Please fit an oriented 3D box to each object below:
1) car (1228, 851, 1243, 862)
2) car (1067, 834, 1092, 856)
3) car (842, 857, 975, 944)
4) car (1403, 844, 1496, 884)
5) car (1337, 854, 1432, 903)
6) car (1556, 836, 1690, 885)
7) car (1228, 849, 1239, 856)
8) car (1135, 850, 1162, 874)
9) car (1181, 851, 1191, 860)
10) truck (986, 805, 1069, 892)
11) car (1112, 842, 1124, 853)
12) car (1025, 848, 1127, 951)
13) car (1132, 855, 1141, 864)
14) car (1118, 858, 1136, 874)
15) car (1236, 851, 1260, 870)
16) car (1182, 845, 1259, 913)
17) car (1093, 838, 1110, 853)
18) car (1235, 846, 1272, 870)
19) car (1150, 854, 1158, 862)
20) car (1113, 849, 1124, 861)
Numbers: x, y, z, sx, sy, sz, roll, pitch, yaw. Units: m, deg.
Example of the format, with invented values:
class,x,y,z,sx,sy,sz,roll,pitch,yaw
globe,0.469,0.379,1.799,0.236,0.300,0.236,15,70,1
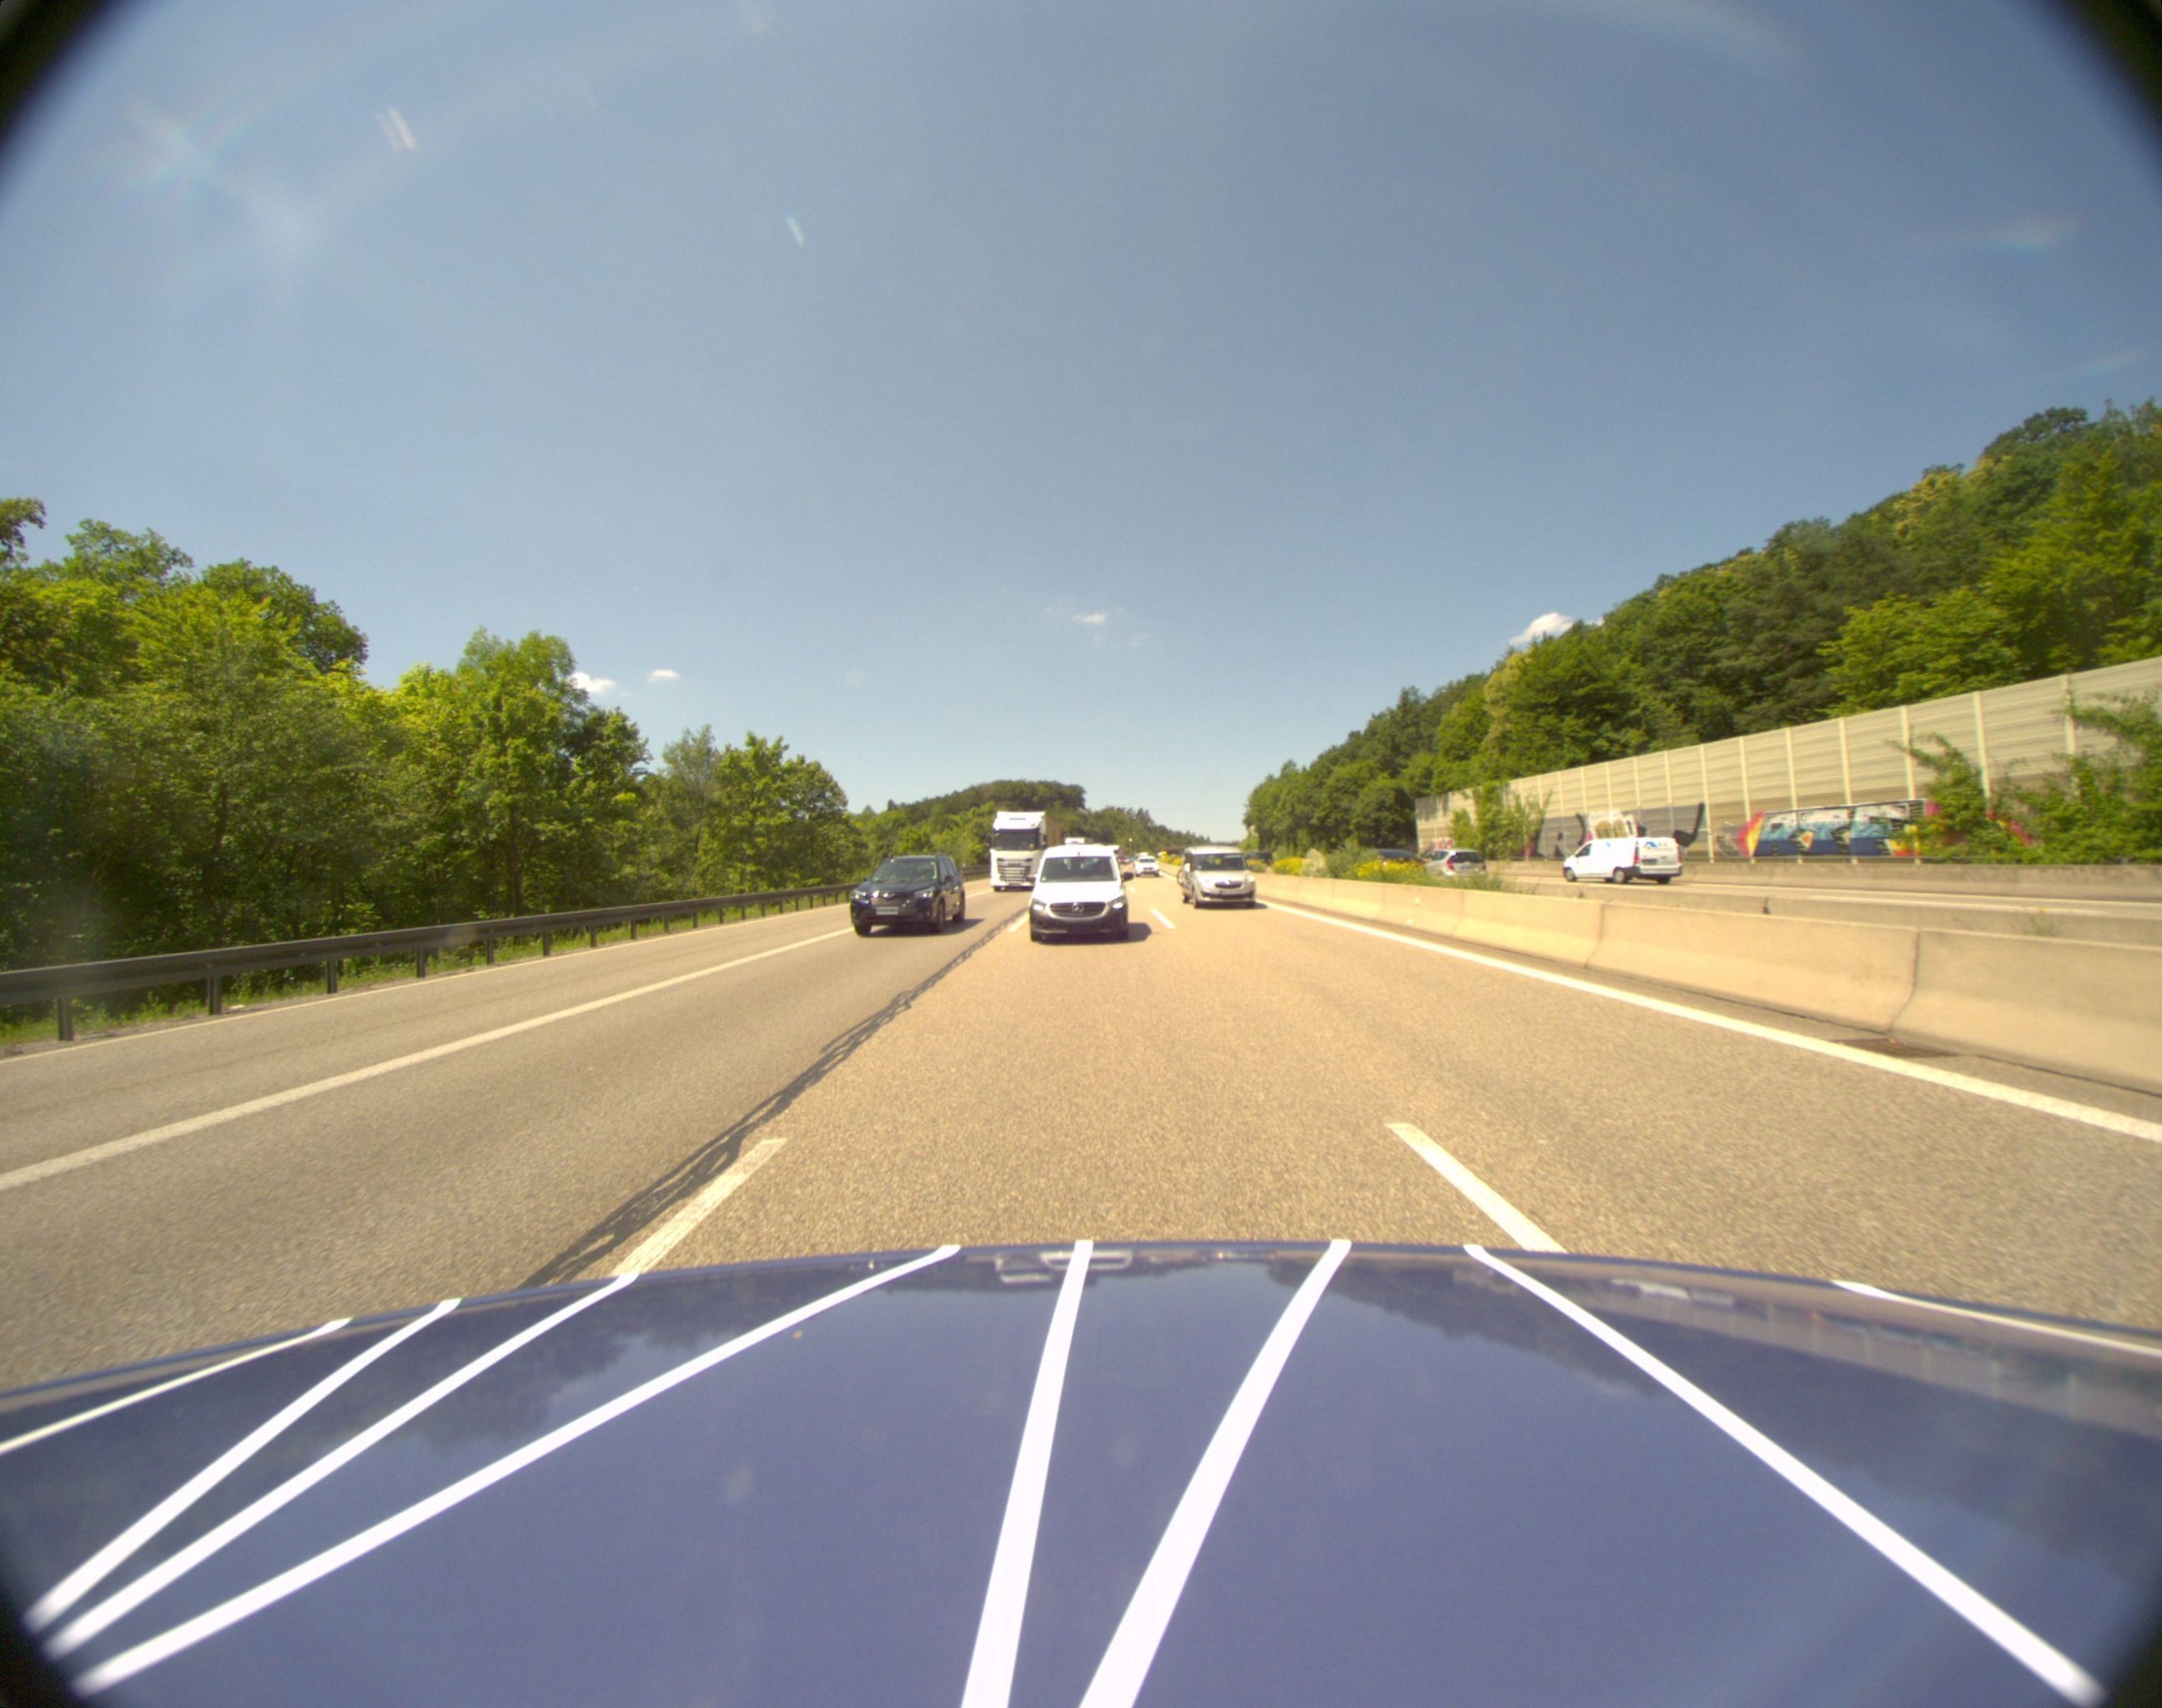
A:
class,x,y,z,sx,sy,sz,roll,pitch,yaw
car,24.472,0.389,120.101,1.743,1.630,4.189,-1,1,4
car,-0.113,-1.097,93.610,2.721,2.534,5.941,-1,1,3
car,-3.749,0.950,17.300,1.816,1.658,4.204,-1,1,3
car,15.640,0.398,32.550,1.814,1.566,4.603,-1,0,1
car,11.432,0.862,28.954,1.814,1.631,4.603,-1,0,1
car,22.559,0.231,31.945,1.926,1.856,5.303,-1,1,1
car,32.333,-0.392,161.361,1.633,1.473,4.314,-1,0,3
car,5.425,0.628,61.722,1.998,1.827,4.001,-1,0,3
car,21.083,0.276,152.128,1.646,1.641,3.713,-1,0,2
truck,-2.729,-0.293,45.026,2.789,4.144,16.271,-2,0,3
car,8.745,-1.614,178.398,2.721,2.534,5.941,-1,1,3
car,0.036,0.772,15.276,1.729,1.760,4.313,-1,1,3
car,12.604,1.221,173.185,1.998,2.002,4.001,-1,0,2
car,5.860,1.493,97.585,1.998,2.002,4.000,-1,0,1
car,18.331,0.712,83.437,1.742,1.911,4.504,-1,1,1
car,4.112,0.698,23.014,1.780,1.833,4.001,-1,0,3
car,3.549,-1.476,129.752,2.721,2.534,5.941,-1,1,3
car,12.539,0.293,55.416,1.688,1.688,4.659,-1,0,1
car,18.905,1.066,196.718,1.678,2.002,3.906,-1,0,1
car,6.735,0.142,136.818,1.902,2.002,4.000,-1,0,1
